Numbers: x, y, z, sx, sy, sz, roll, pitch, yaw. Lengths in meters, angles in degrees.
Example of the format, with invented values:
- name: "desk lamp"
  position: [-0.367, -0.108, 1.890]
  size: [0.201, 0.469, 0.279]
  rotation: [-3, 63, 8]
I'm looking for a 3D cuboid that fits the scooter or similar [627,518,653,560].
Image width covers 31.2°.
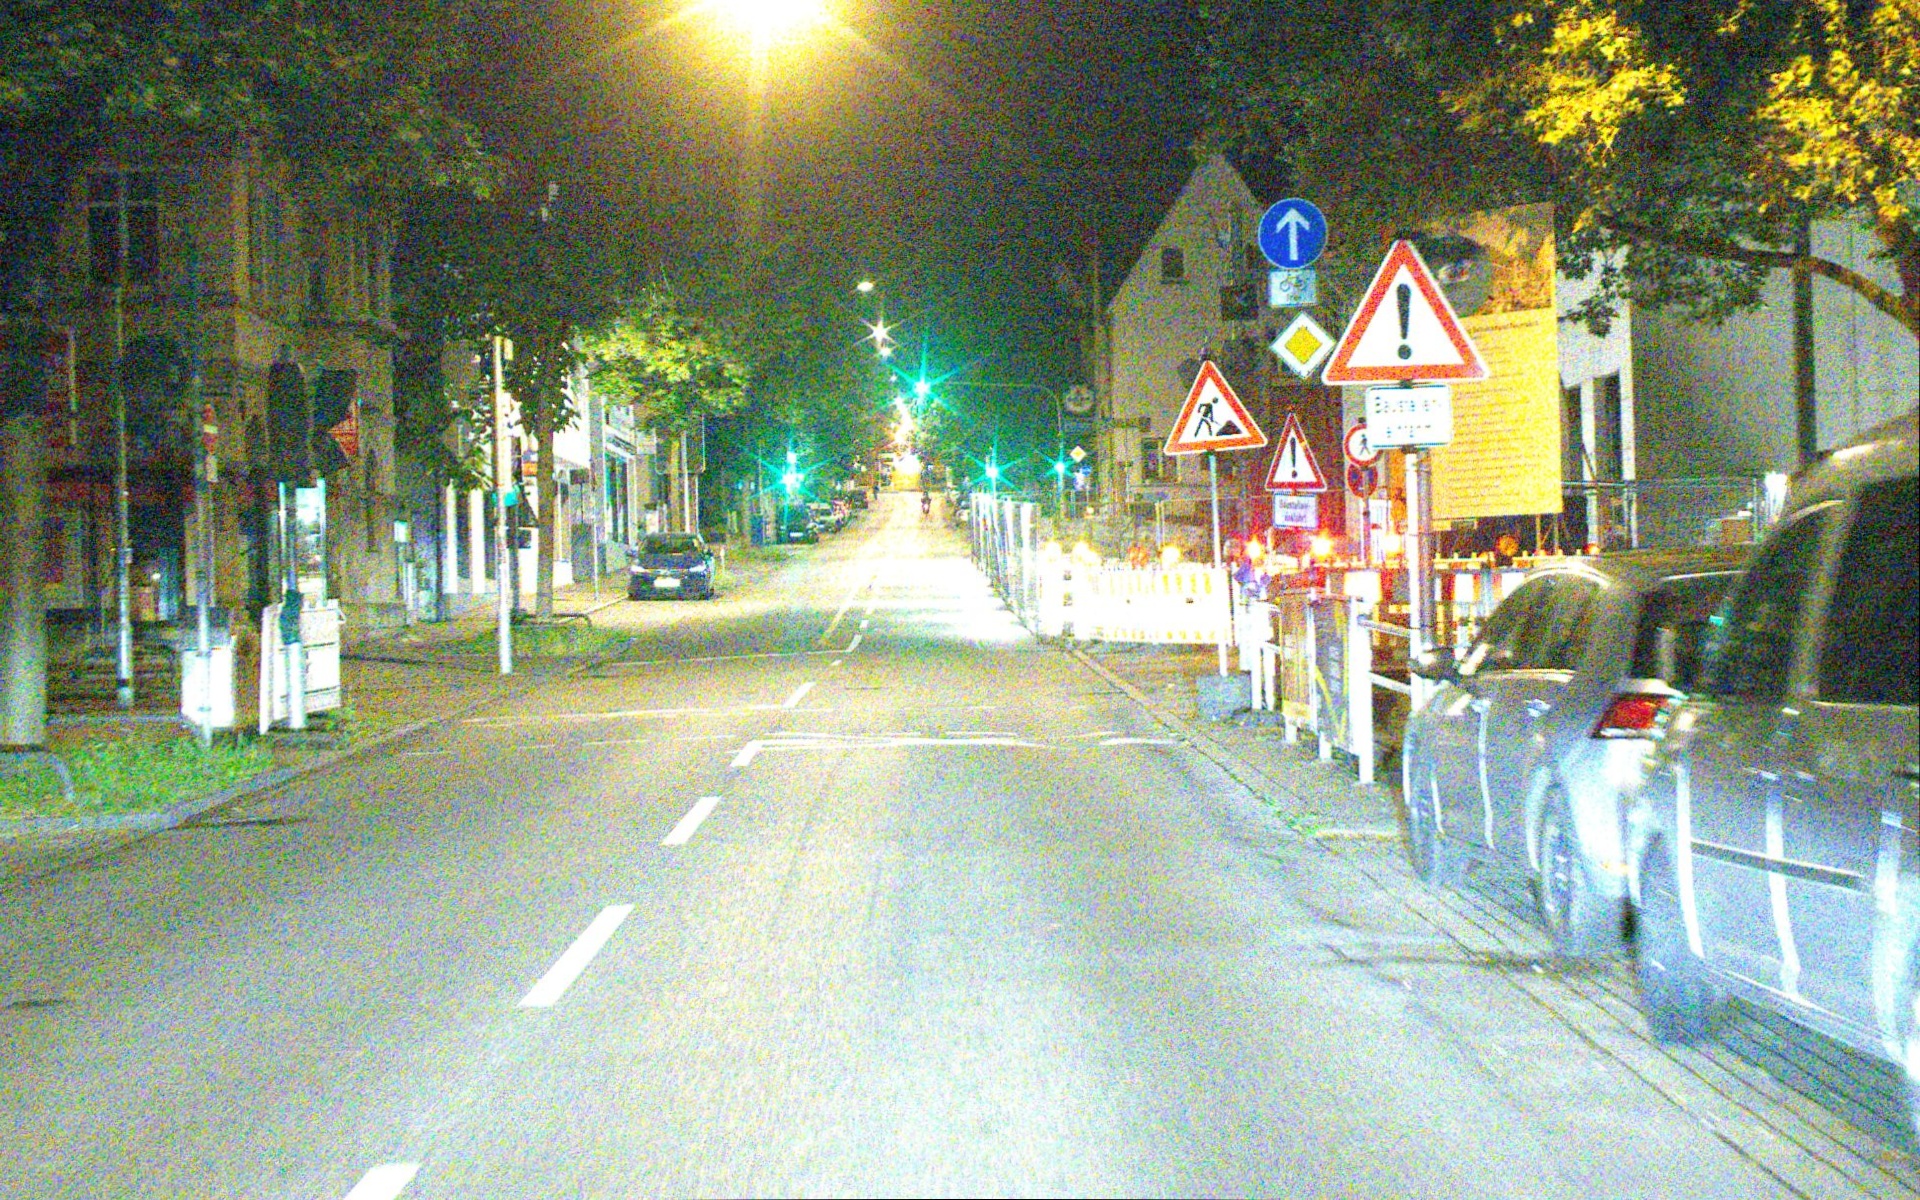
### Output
- name: "scooter or similar"
  position: [-9.460, -1.795, 101.770]
  size: [0.528, 1.161, 2.507]
  rotation: [-3, 0, -1]

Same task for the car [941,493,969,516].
- name: "car"
  position: [-0.343, -6.573, 237.260]
  size: [1.873, 1.539, 4.205]
  rotation: [-1, 2, -1]

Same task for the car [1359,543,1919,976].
- name: "car"
  position: [2.840, 0.503, 13.815]
  size: [1.727, 1.414, 4.324]
  rotation: [-2, 1, -3]

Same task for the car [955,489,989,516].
- name: "car"
  position: [0.703, -5.631, 198.318]
  size: [1.873, 1.539, 4.205]
  rotation: [-1, 2, -1]

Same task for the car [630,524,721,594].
- name: "car"
  position: [-6.255, -0.930, 75.876]
  size: [1.671, 1.438, 4.205]
  rotation: [-1, 2, -1]

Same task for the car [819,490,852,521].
- name: "car"
  position: [-7.575, -5.754, 209.572]
  size: [1.873, 1.808, 4.205]
  rotation: [-1, 2, -1]

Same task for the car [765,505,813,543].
- name: "car"
  position: [-7.309, -3.258, 147.097]
  size: [1.873, 1.539, 4.205]
  rotation: [-1, 2, -1]

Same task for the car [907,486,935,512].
- name: "car"
  position: [-2.770, -7.186, 245.387]
  size: [1.873, 1.808, 4.205]
  rotation: [-1, 2, 0]

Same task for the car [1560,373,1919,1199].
- name: "car"
  position: [2.863, 0.388, 8.671]
  size: [1.735, 1.848, 4.317]
  rotation: [-2, 1, -2]
